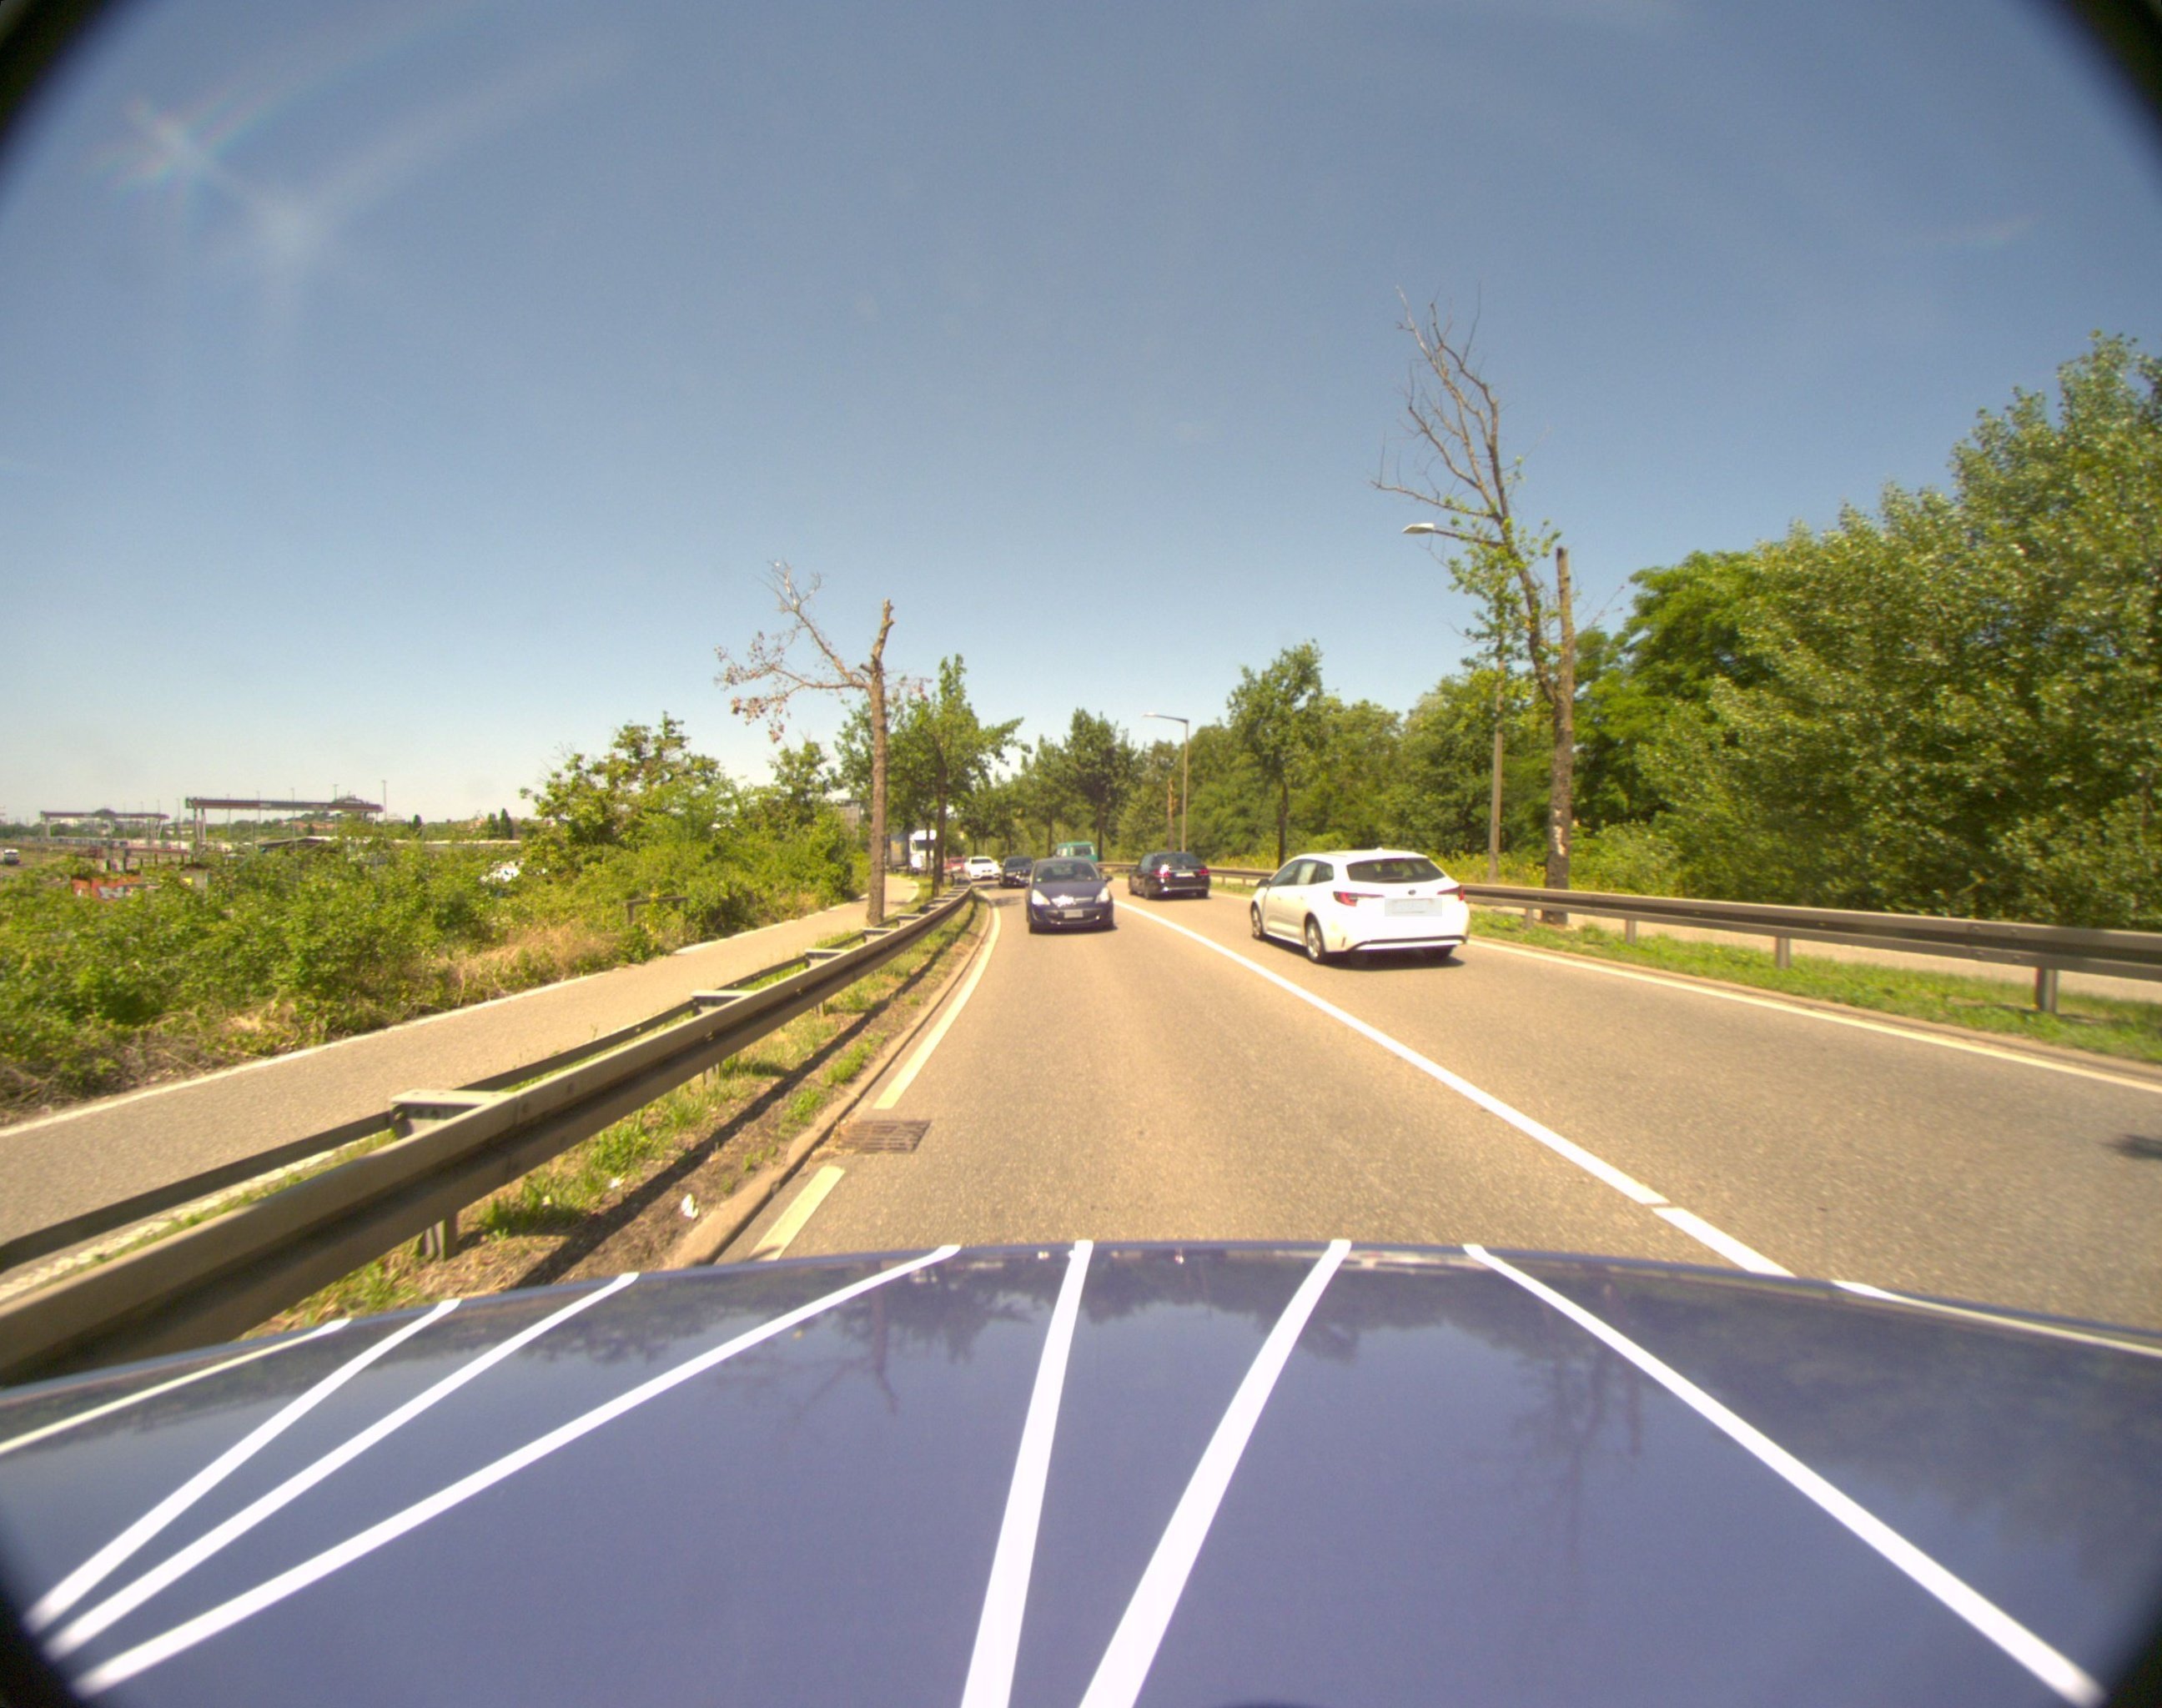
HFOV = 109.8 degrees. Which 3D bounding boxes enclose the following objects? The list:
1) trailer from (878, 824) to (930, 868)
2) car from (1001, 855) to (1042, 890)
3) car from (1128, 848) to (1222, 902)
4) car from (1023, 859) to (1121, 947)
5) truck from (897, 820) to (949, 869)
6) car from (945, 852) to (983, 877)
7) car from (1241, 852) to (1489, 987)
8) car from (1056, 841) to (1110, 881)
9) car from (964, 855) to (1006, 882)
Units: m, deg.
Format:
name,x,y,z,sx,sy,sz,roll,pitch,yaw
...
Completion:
name,x,y,z,sx,sy,sz,roll,pitch,yaw
trailer,-19.030,-0.746,80.799,2.885,4.190,13.981,-3,1,-23
car,-2.772,0.791,34.494,1.570,1.408,4.119,-3,1,-8
car,2.828,0.585,24.085,1.851,1.459,4.737,-3,1,-6
car,-0.326,0.907,16.100,1.699,1.459,4.380,-3,1,-5
truck,-14.915,-0.820,71.095,2.862,4.244,8.798,-3,1,-23
car,-8.871,0.763,57.271,1.903,1.645,4.249,-3,2,-21
car,3.743,0.740,10.951,1.705,1.438,4.458,-3,1,-2
car,0.030,0.333,40.233,1.836,1.927,4.770,-2,1,-12
car,-5.755,0.817,45.124,1.819,1.420,3.709,-3,1,-17
